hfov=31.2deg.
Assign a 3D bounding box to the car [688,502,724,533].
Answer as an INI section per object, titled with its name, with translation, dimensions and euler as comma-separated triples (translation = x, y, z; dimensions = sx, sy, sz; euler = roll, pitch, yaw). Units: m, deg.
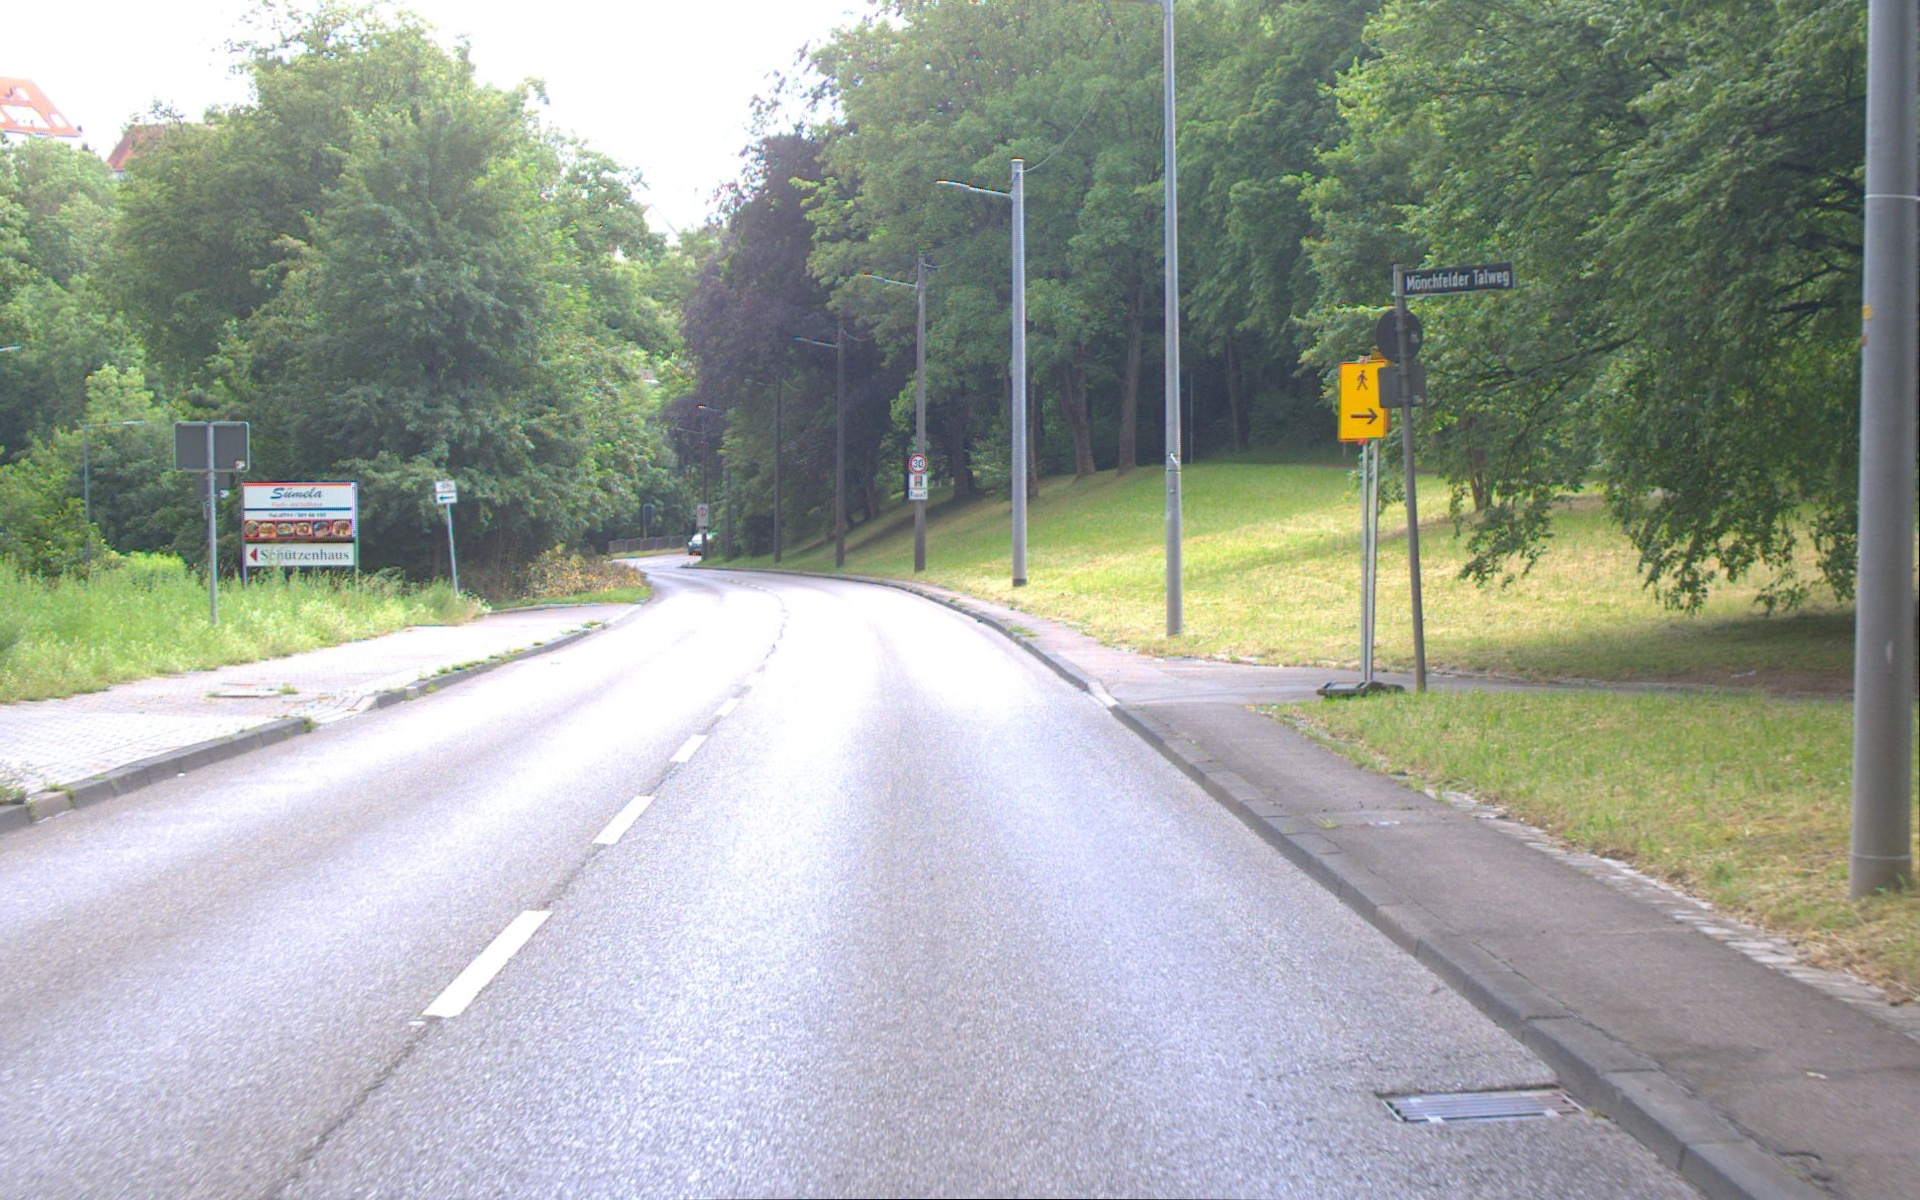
[car]
translation = -17.022, -5.509, 230.646
dimensions = 1.993, 2.007, 4.000
euler = 1, 0, 2
